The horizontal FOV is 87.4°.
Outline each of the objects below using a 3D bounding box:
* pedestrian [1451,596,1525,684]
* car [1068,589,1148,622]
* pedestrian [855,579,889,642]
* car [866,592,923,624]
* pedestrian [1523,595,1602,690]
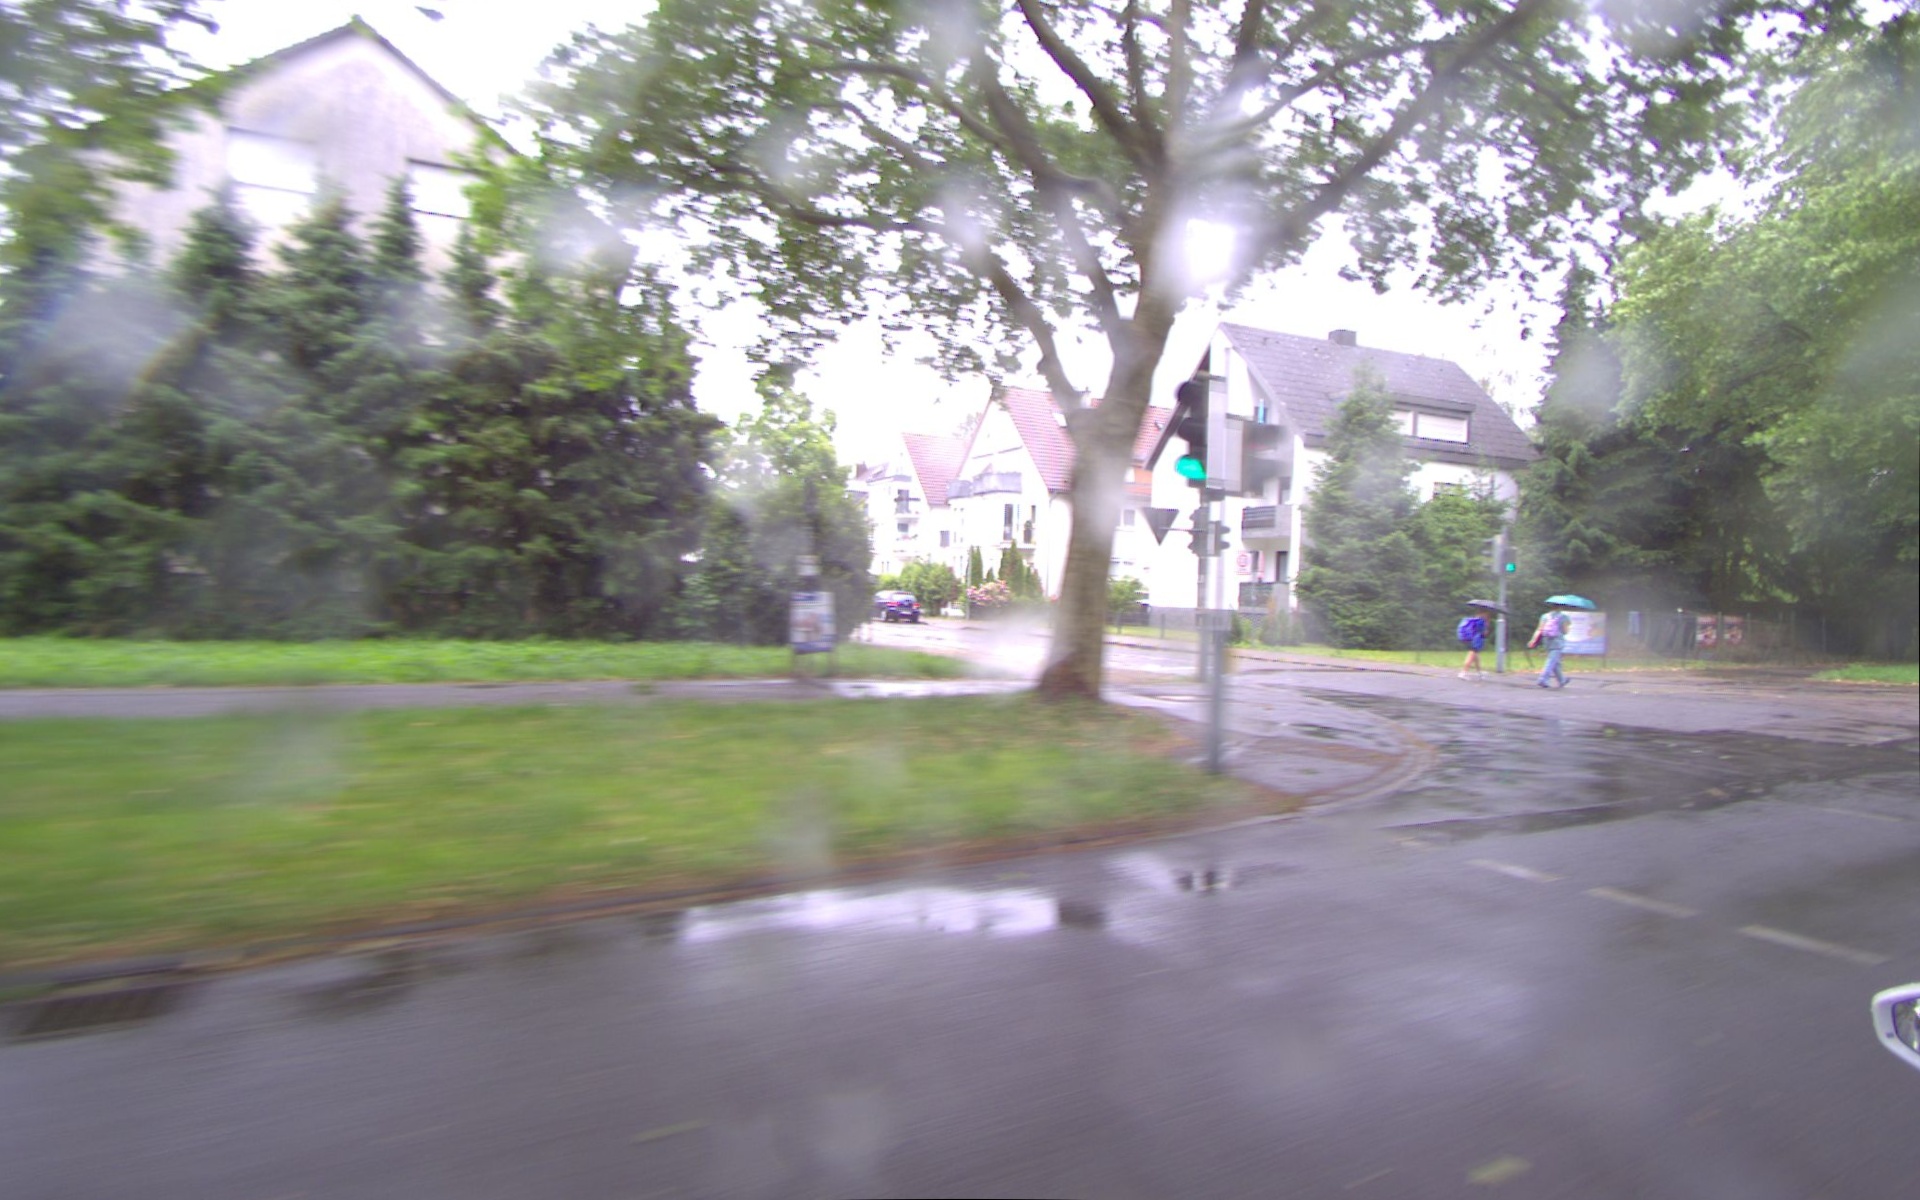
[{"bbox_3d":[11.024,0.814,20.991,0.868,1.789,1.029,1,0,-27],"label":"pedestrian"},{"bbox_3d":[7.169,0.284,48.618,3.611,1.465,1.609,2,0,-28],"label":"car"},{"bbox_3d":[-2.536,0.302,28.954,0.632,1.768,0.854,1,1,-30],"label":"pedestrian"},{"bbox_3d":[-3.194,0.348,48.259,1.668,1.391,3.699,1,1,-22],"label":"car"},{"bbox_3d":[11.744,0.807,19.592,0.827,1.789,1.029,1,0,-27],"label":"pedestrian"}]
